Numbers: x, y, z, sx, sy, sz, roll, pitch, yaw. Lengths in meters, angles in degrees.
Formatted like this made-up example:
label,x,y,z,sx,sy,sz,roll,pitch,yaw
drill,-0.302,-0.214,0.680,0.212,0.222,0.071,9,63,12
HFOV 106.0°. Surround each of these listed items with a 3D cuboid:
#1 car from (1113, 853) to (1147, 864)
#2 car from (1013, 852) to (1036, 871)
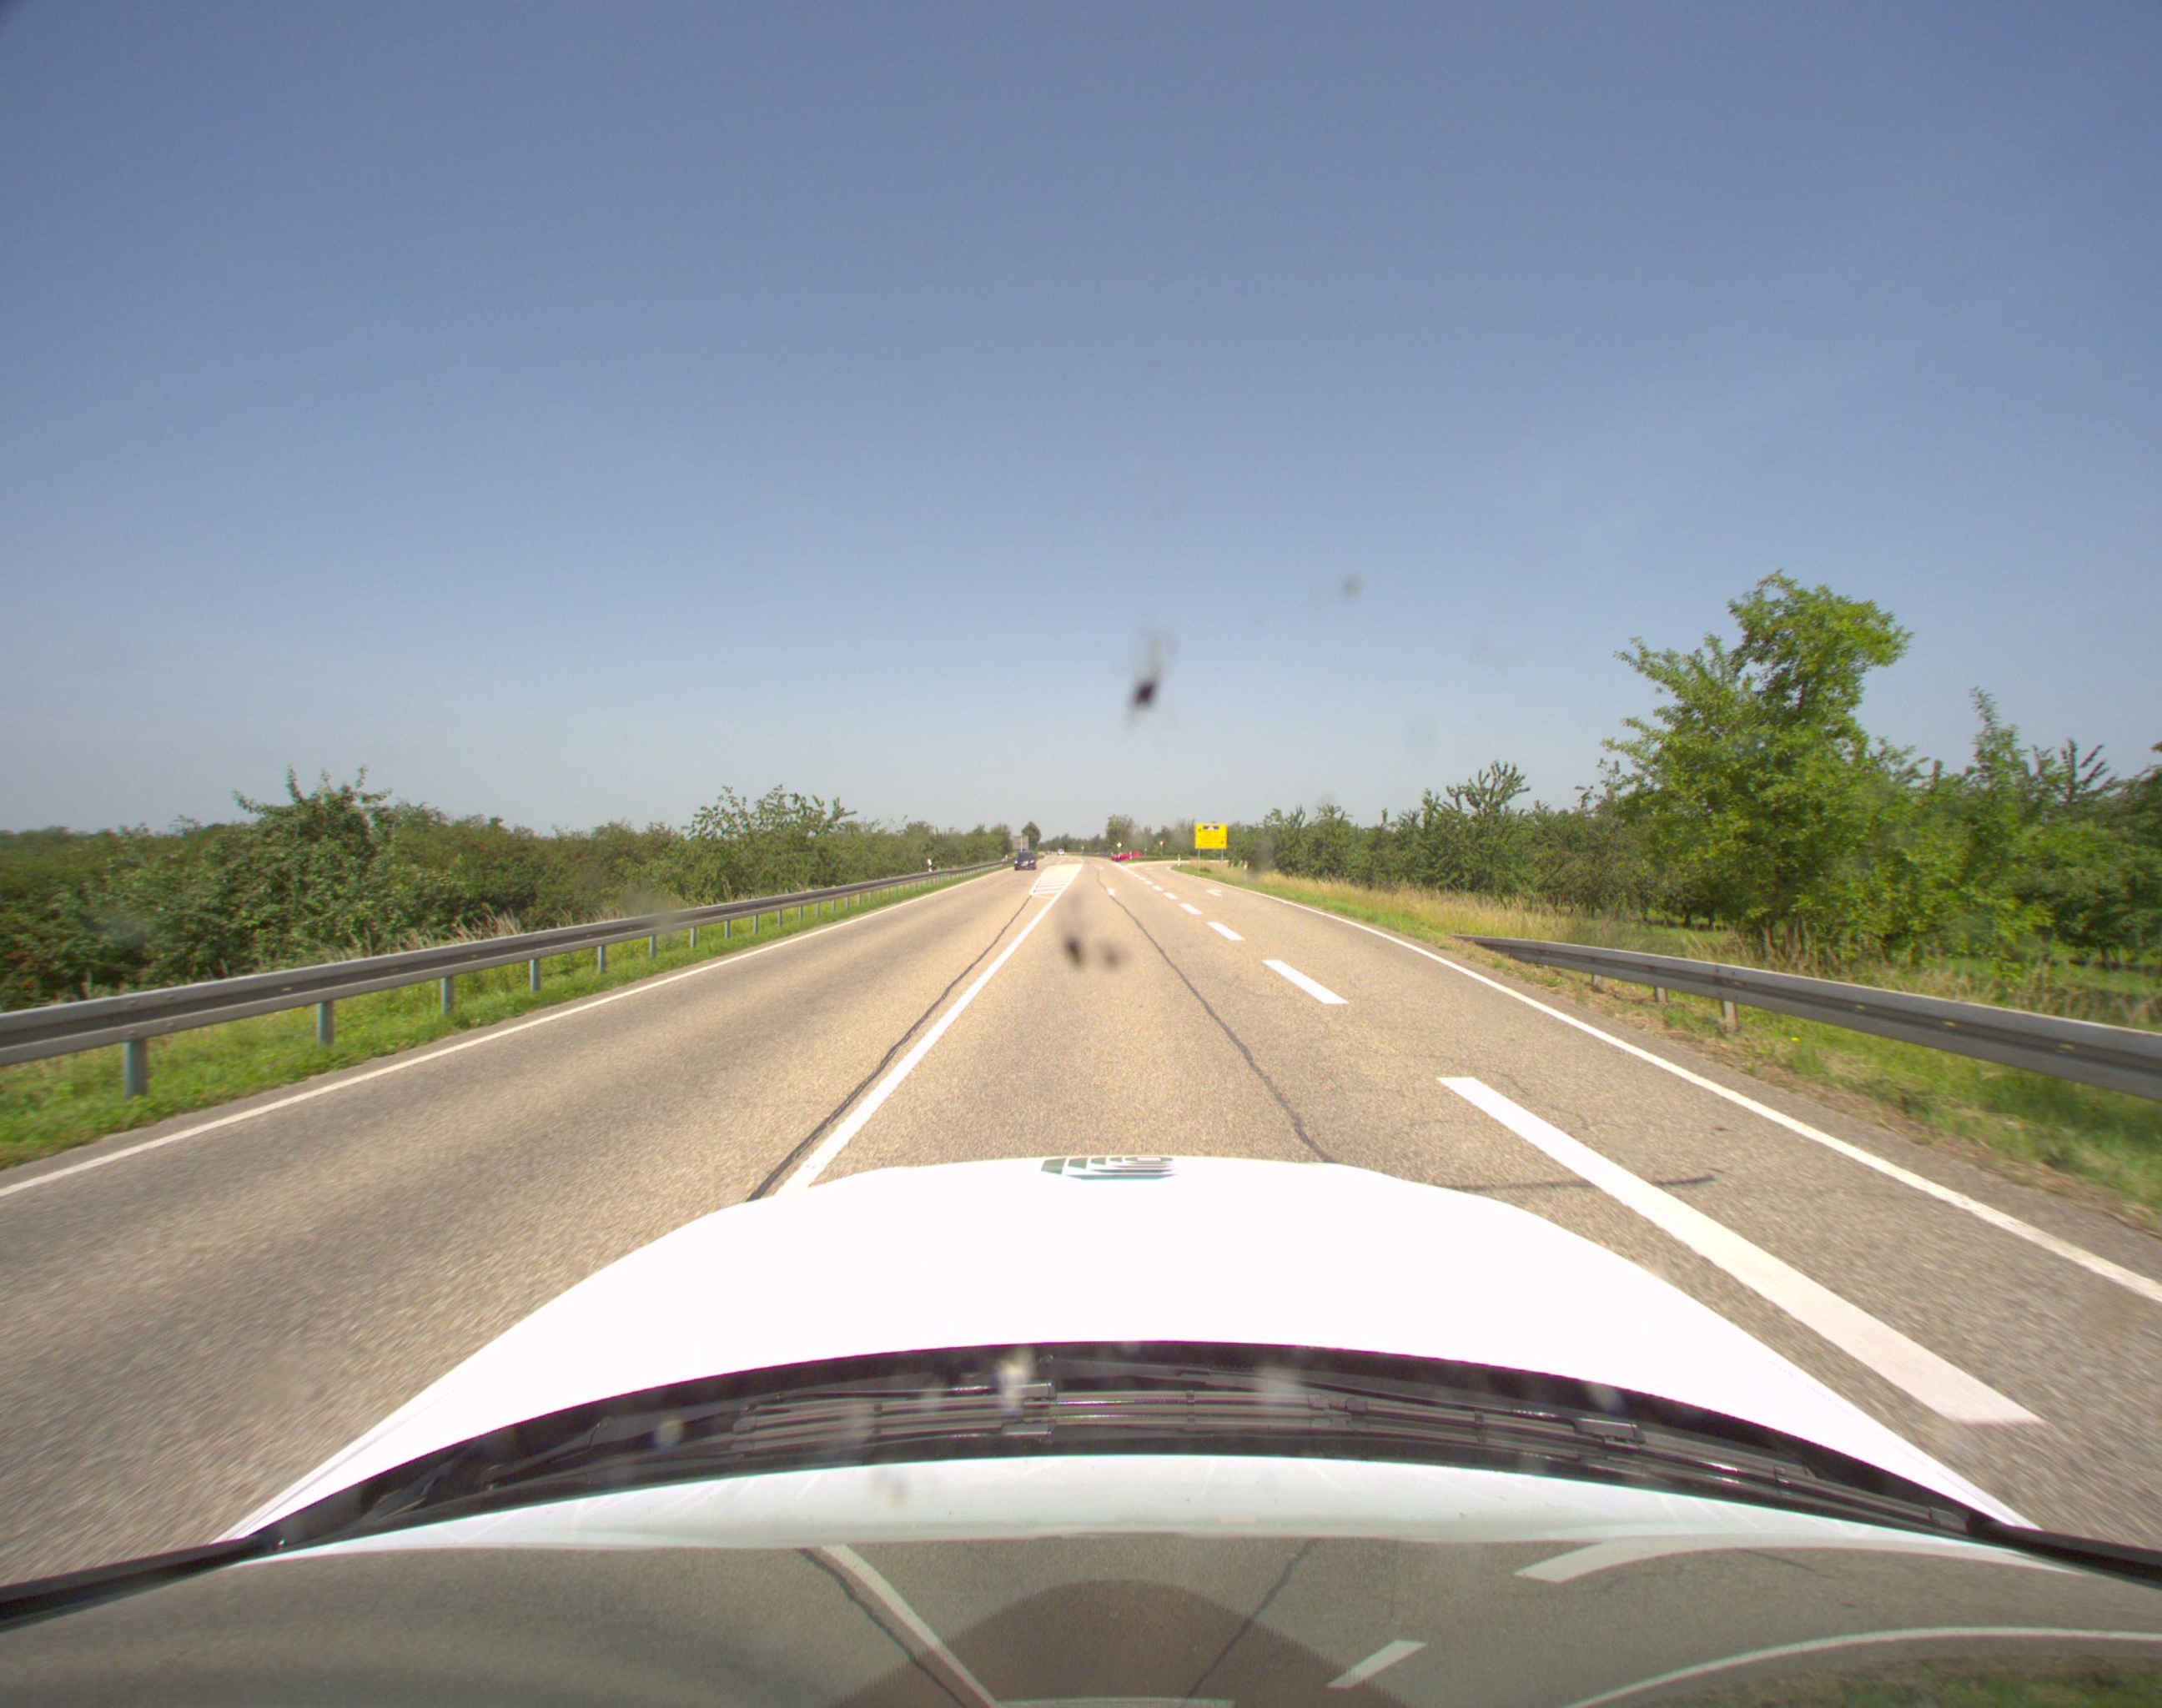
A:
label,x,y,z,sx,sy,sz,roll,pitch,yaw
car,6.568,0.587,109.608,4.472,1.449,1.819,-1,-1,-4
car,-4.934,0.665,71.785,1.798,1.637,4.807,-1,0,-1
